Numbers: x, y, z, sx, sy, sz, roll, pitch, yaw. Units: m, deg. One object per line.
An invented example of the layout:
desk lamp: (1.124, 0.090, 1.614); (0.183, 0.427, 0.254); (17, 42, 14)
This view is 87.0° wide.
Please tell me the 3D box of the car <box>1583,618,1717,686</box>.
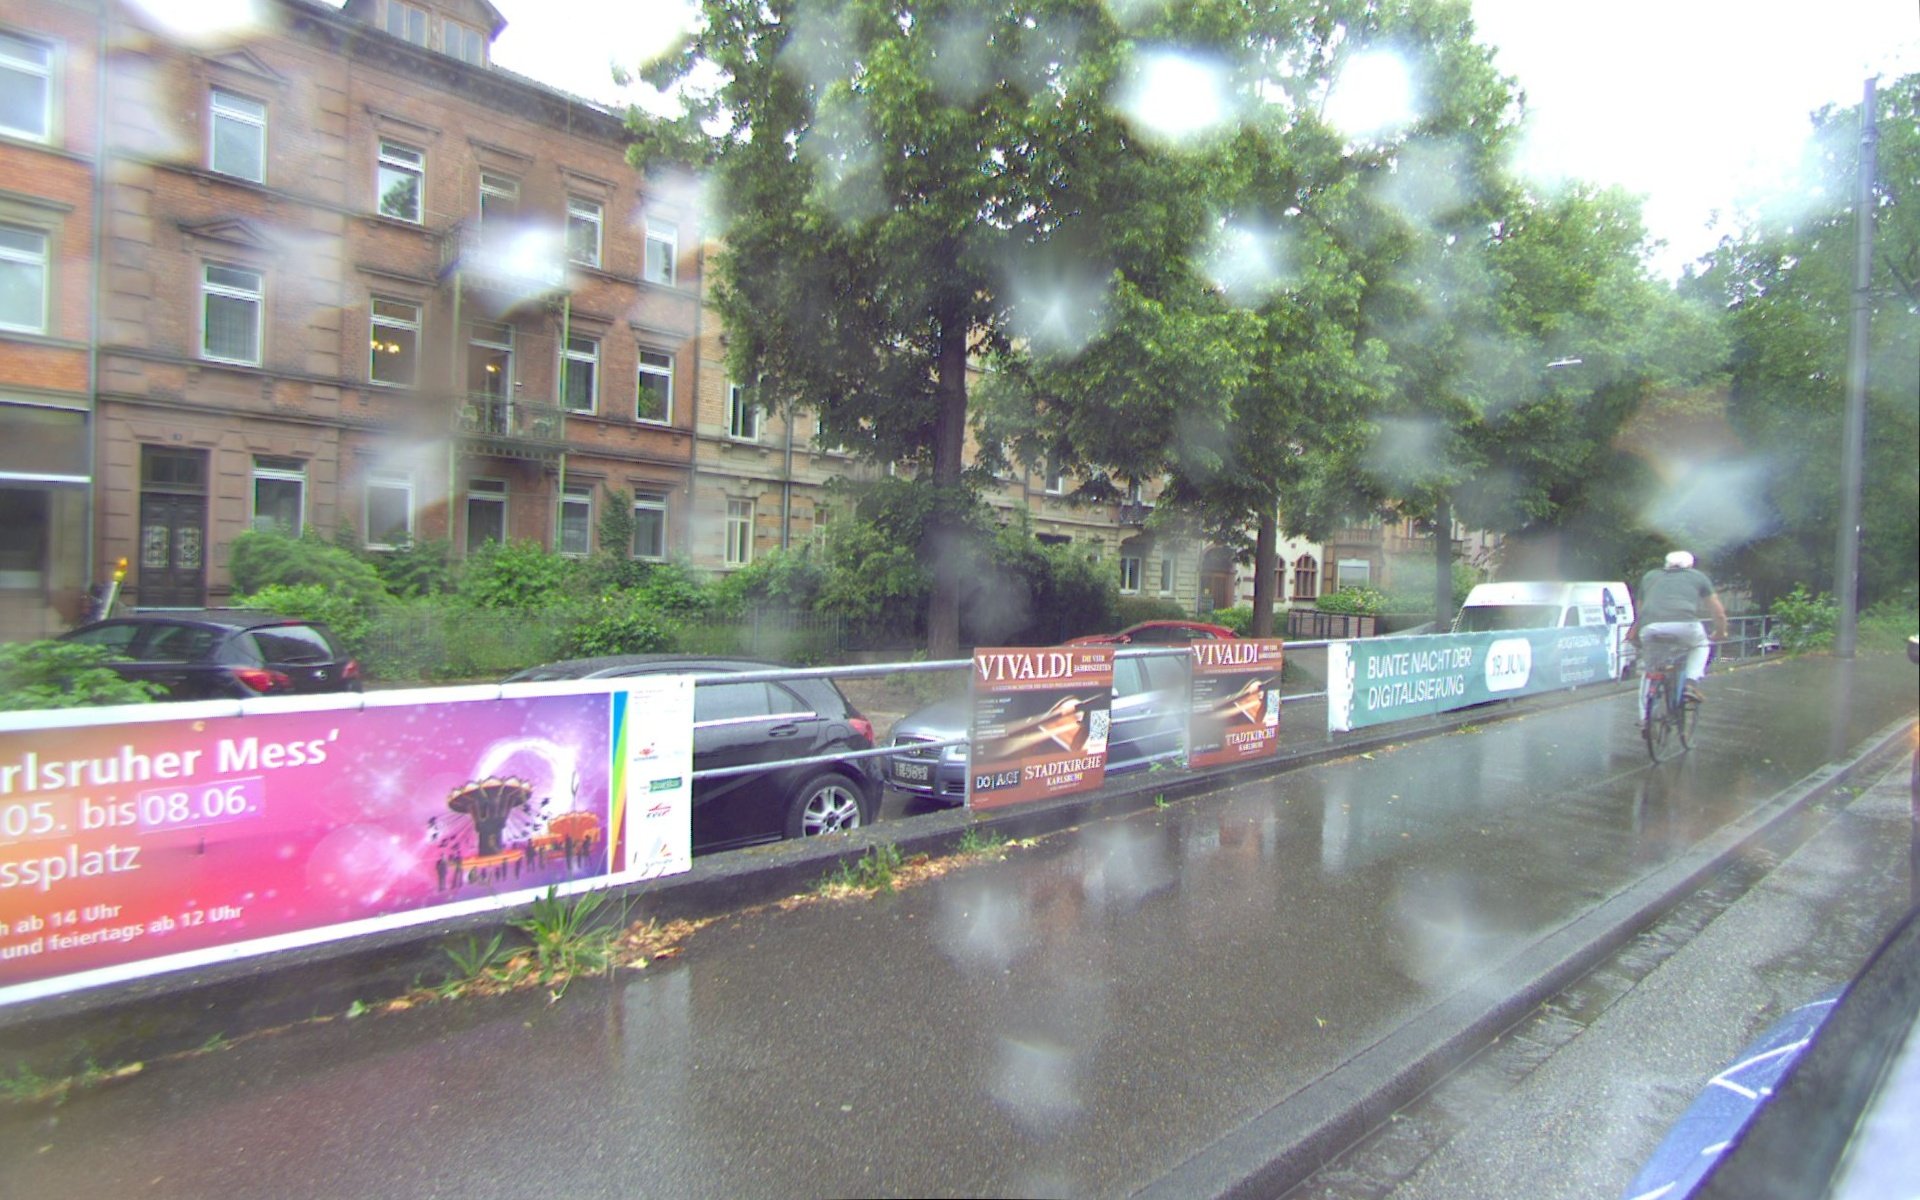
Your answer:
car: (16.643, 1.184, 24.333); (4.142, 1.365, 1.629); (0, 1, -41)

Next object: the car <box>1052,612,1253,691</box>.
car: (4.326, 1.102, 22.626); (4.230, 1.488, 1.700); (2, 0, 18)

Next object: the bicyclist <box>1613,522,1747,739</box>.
bicyclist: (5.961, 0.227, 8.377); (0.736, 1.676, 0.863); (2, 1, 44)

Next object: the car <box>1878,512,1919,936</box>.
car: (6.091, 0.541, 4.778); (4.595, 1.667, 1.912); (1, 0, -39)

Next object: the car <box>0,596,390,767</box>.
car: (-8.560, 0.771, 10.956); (3.940, 1.527, 1.853); (1, 0, 13)

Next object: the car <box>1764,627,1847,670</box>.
car: (32.125, 1.809, 38.418); (3.929, 1.473, 1.808); (2, 0, -41)

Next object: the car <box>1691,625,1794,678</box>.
car: (23.432, 1.487, 30.266); (3.930, 1.389, 1.702); (0, 0, -41)

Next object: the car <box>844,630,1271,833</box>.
car: (1.091, 1.073, 9.826); (4.141, 1.488, 1.730); (1, 0, -41)

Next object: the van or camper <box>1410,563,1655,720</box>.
van or camper: (11.311, 0.710, 19.746); (5.991, 2.624, 2.330); (1, 0, -42)

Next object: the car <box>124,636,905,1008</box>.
car: (-2.525, 1.018, 6.348); (4.142, 1.482, 1.749); (1, 0, -41)

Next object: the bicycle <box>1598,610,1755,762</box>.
bicycle: (5.977, 0.649, 8.398); (0.738, 1.086, 1.836); (3, 1, 45)
